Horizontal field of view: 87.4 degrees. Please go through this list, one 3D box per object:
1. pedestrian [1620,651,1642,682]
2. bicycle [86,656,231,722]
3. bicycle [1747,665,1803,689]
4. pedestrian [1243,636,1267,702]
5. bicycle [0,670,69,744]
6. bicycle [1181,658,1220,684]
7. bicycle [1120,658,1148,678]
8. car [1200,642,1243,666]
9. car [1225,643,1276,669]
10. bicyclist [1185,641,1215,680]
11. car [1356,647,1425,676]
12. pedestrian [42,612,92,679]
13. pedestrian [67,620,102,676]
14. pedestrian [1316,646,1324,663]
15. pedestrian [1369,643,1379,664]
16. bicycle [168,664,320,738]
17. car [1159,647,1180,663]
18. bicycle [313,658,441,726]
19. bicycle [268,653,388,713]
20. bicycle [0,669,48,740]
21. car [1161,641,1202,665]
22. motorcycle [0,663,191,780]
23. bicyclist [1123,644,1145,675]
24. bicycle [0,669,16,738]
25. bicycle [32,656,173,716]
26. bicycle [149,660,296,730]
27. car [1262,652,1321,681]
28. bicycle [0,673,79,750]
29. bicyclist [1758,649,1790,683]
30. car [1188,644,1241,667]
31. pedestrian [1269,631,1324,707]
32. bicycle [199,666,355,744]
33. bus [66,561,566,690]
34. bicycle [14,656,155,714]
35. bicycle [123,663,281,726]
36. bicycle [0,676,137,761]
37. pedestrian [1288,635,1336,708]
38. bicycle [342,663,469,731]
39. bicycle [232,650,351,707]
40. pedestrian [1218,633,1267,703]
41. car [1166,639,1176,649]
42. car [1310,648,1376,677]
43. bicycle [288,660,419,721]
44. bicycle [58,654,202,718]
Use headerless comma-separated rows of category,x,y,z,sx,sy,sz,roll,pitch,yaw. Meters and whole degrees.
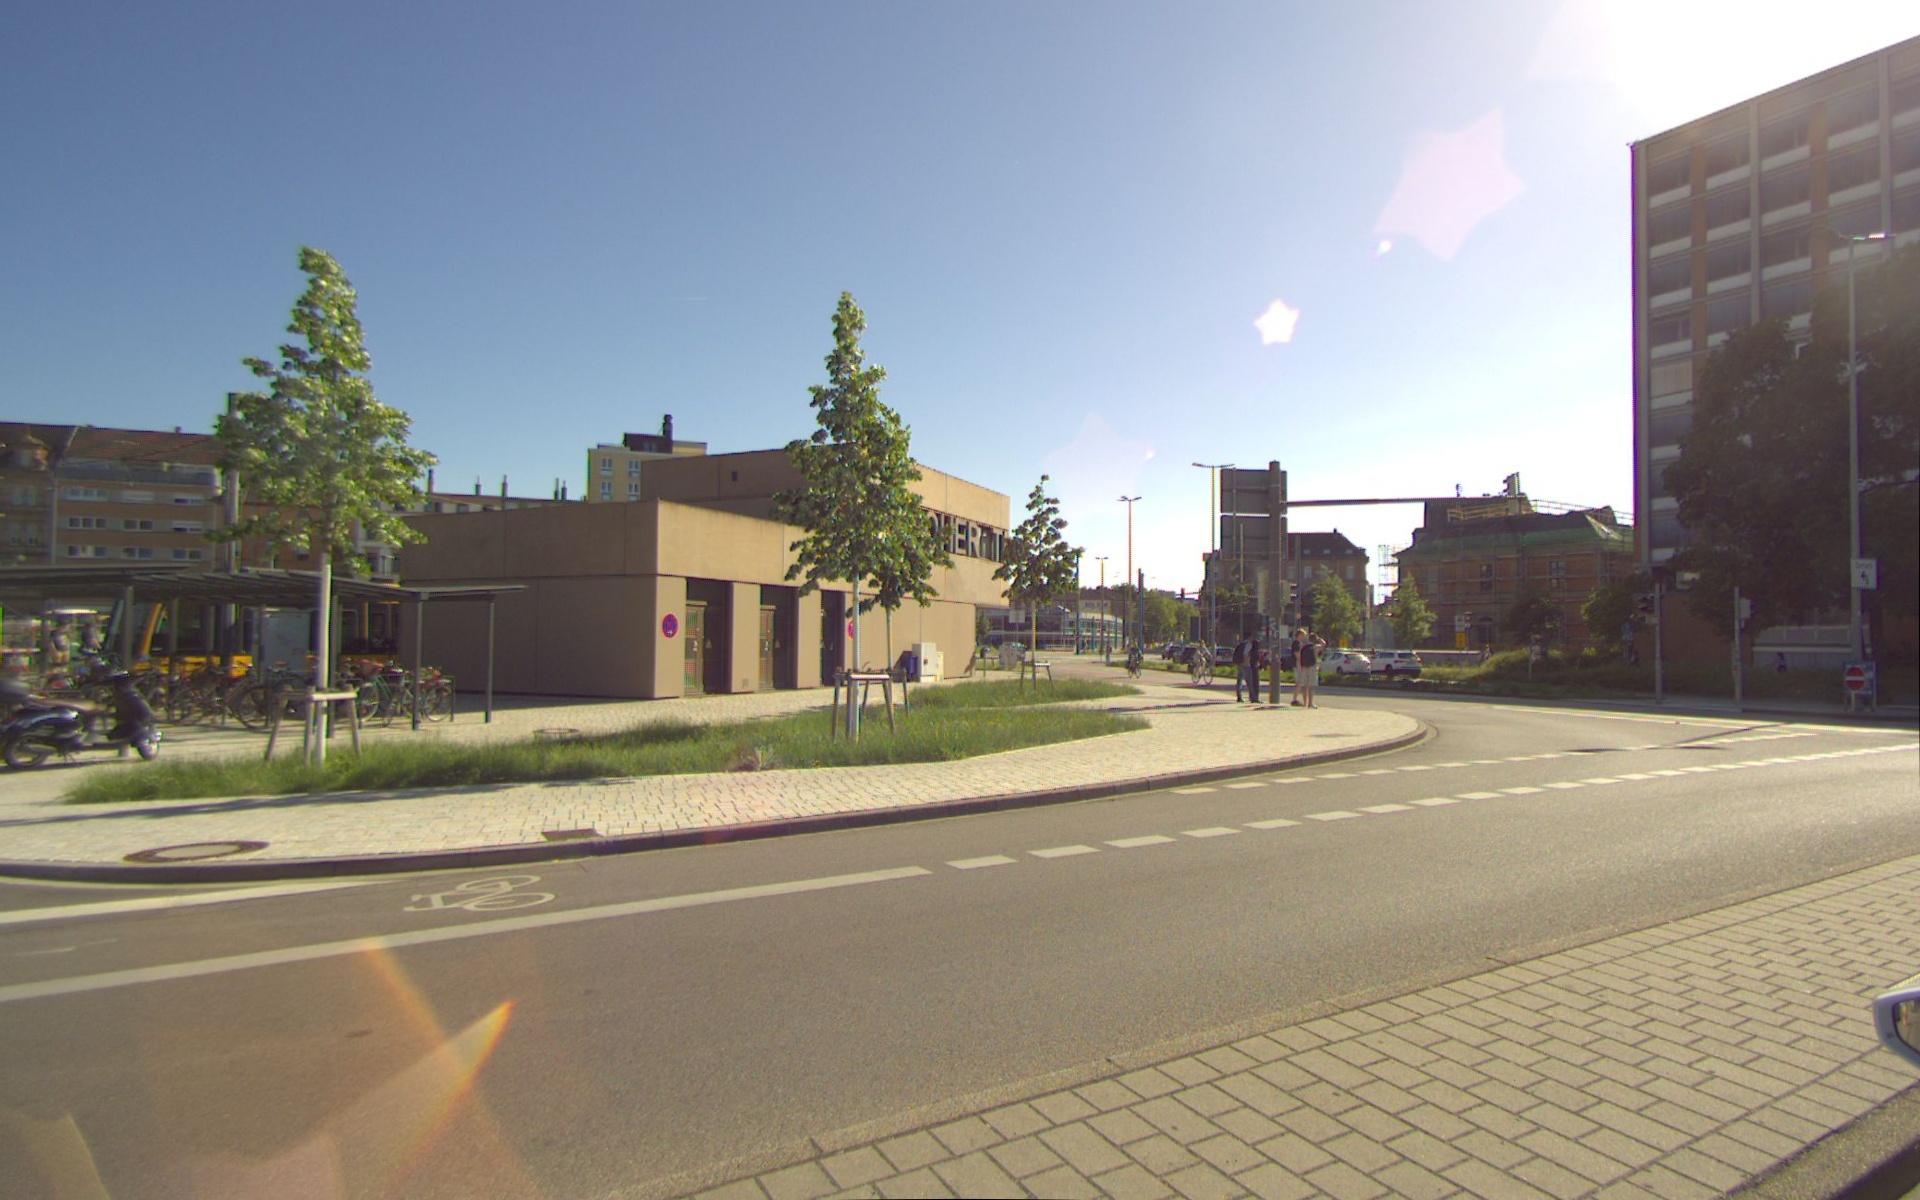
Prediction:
pedestrian,34.937,3.437,52.308,0.548,1.592,0.862,1,-2,-4
bicycle,-15.020,1.640,18.901,0.524,1.051,2.070,5,1,26
bicycle,35.285,3.323,43.534,0.587,0.976,2.081,1,-2,-6
pedestrian,7.946,1.848,27.084,0.585,1.751,0.580,0,-2,14
bicycle,-13.699,1.531,14.169,0.399,0.985,1.683,2,0,22
bicycle,9.443,2.794,39.558,0.728,1.008,1.987,1,-4,-12
bicycle,8.271,3.224,47.768,0.675,0.930,1.988,1,-4,-9
car,19.612,4.031,75.502,1.809,1.653,4.386,1,-2,-4
car,20.033,3.837,69.430,1.810,1.653,4.382,1,-2,-8
bicyclist,9.452,2.381,39.580,0.729,1.519,1.069,1,-4,-15
car,26.566,3.759,62.141,1.809,1.653,4.835,1,-2,-6
pedestrian,-26.163,1.329,29.447,0.755,1.942,0.803,0,-2,23
pedestrian,-26.924,1.471,30.897,0.531,1.692,0.616,0,-2,23
pedestrian,38.219,5.762,106.669,0.645,1.758,0.680,0,-2,1
pedestrian,32.506,4.175,78.882,0.636,1.637,0.548,0,-2,10
bicycle,-11.962,1.654,16.867,0.524,1.051,2.070,2,0,26
car,22.397,5.884,107.471,1.807,1.653,4.390,0,-2,6
bicycle,-10.800,1.683,18.694,0.594,1.093,2.053,2,0,25
bicycle,-12.746,1.647,20.323,0.524,1.051,2.070,2,0,26
bicycle,-14.203,1.525,14.371,0.399,0.985,1.683,2,0,22
car,16.515,3.935,75.121,1.809,1.653,4.386,1,-2,-4
motorcycle,-10.851,1.447,12.472,0.558,1.235,2.087,0,-1,21
bicyclist,8.276,2.836,47.792,0.675,1.440,1.126,1,-4,-10
bicycle,-14.721,1.541,14.420,0.399,0.985,1.683,2,0,22
bicycle,-16.887,1.677,19.844,0.524,1.051,2.070,-2,-2,26
bicycle,-12.901,1.629,17.652,0.524,1.051,2.070,2,0,26
car,20.693,4.130,62.886,1.810,1.653,4.382,1,-2,-8
bicycle,-13.233,1.543,13.808,0.399,0.985,1.683,2,0,22
bicyclist,35.292,2.868,43.547,0.587,1.448,0.939,1,-2,-6
car,17.263,3.761,68.322,1.810,1.406,4.895,1,-2,-8
pedestrian,8.292,1.701,24.751,1.083,1.822,0.704,2,-4,-8
bicycle,-10.906,1.649,16.129,0.524,1.051,2.070,2,0,26
bus,-18.547,0.861,31.112,2.810,3.112,13.620,0,-2,25
bicycle,-17.775,1.697,20.452,0.524,1.051,2.070,5,0,26
bicycle,-13.712,1.677,18.256,0.673,0.956,2.233,2,0,25
bicycle,-12.205,1.573,13.573,0.399,0.985,1.683,2,0,22
pedestrian,8.405,1.717,24.014,0.775,1.711,0.794,2,-5,-11
bicycle,-9.970,1.720,18.157,0.524,1.051,2.070,2,0,26
bicycle,-13.920,1.615,20.988,0.524,1.051,2.070,2,0,26
pedestrian,7.165,1.732,25.479,0.831,1.711,0.896,5,-5,-34
car,47.021,9.836,224.137,1.959,2.040,4.003,0,-2,7
car,21.251,3.455,55.898,1.711,1.454,3.843,1,-2,-10
bicycle,-11.765,1.732,19.567,0.679,1.011,2.140,2,0,26
bicycle,-15.905,1.623,19.315,0.524,1.051,2.070,5,1,26
